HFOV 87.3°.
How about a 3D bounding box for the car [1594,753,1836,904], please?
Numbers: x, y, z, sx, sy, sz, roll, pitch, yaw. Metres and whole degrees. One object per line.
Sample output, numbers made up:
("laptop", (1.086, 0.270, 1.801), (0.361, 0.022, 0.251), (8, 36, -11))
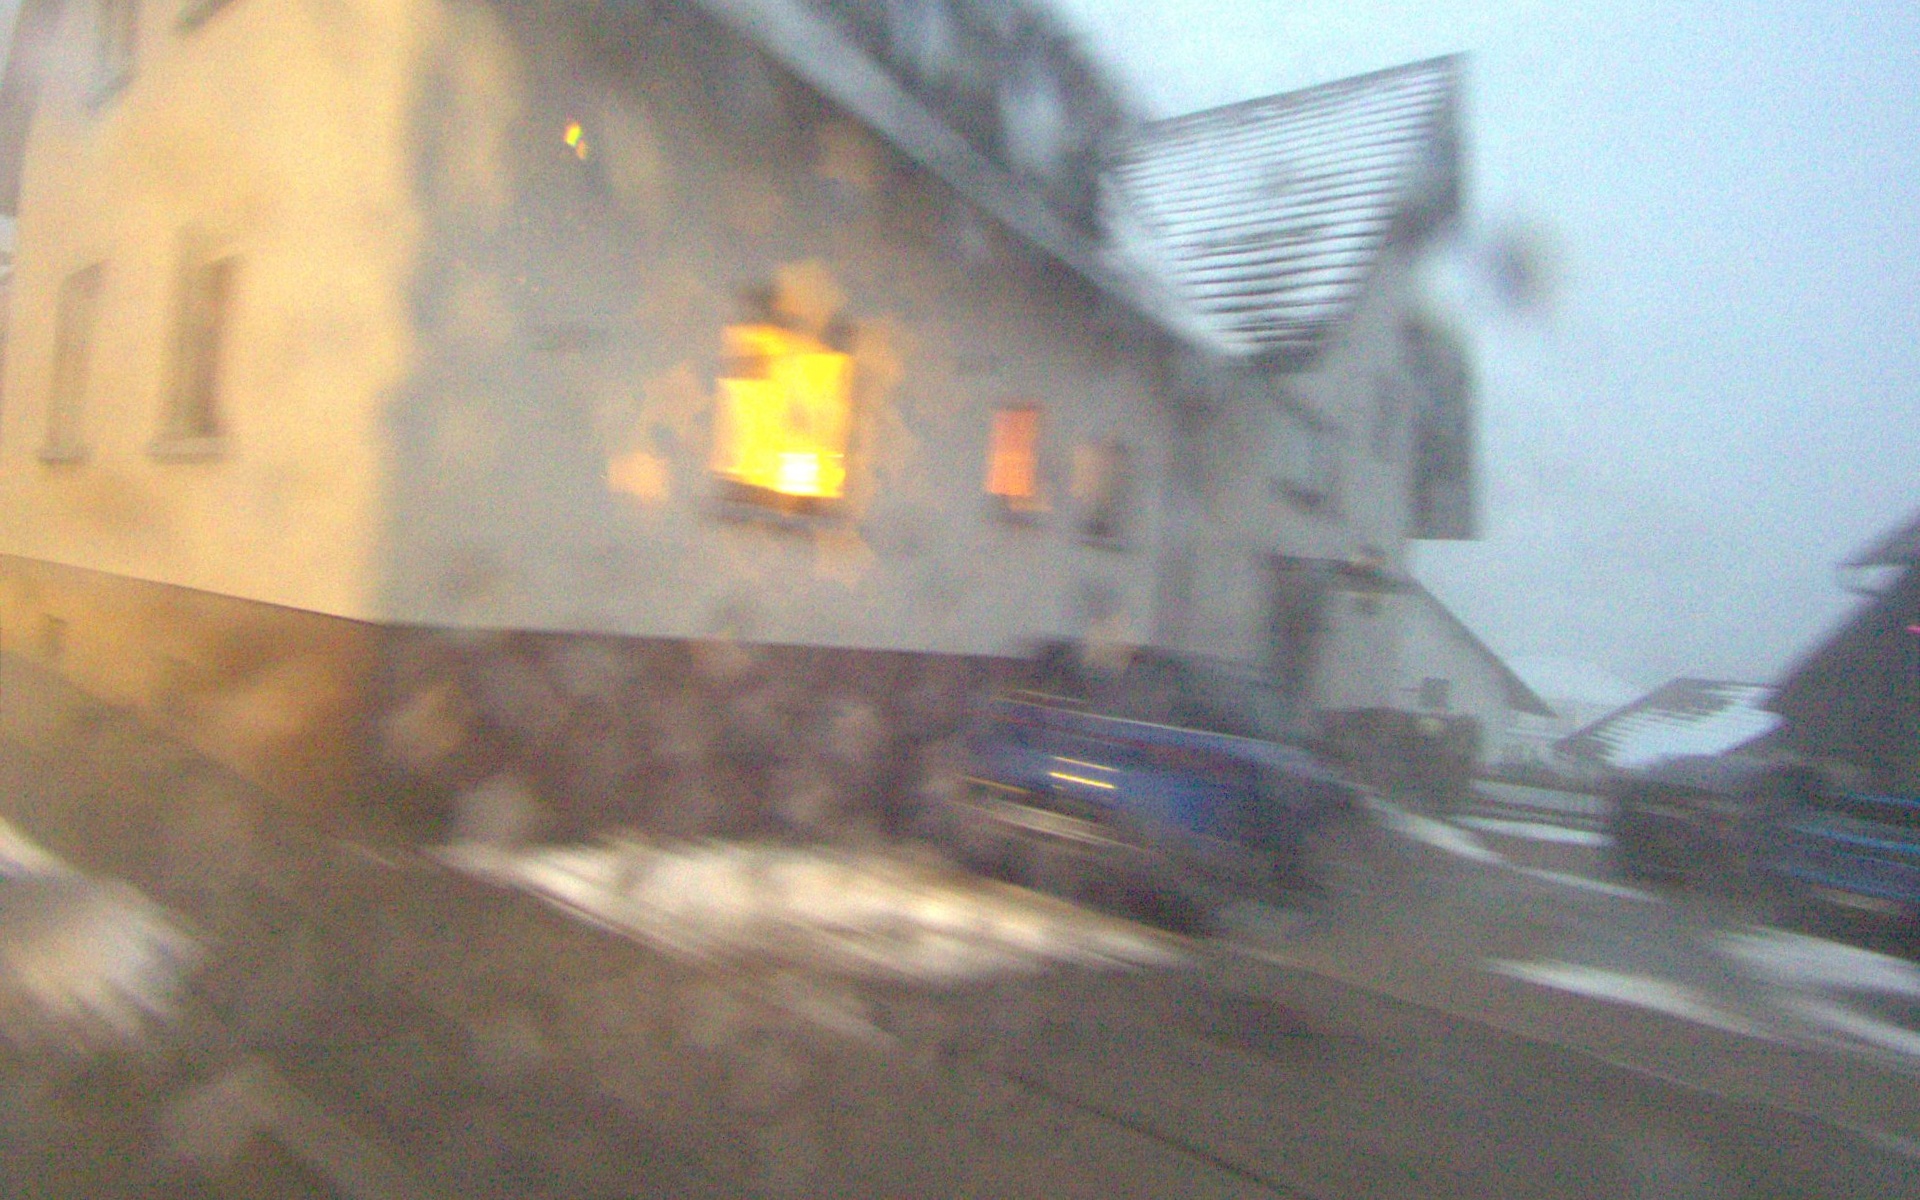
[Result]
("car", (9.719, 2.931, 12.879), (3.368, 1.430, 1.547), (12, -4, -37))

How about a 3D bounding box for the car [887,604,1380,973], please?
("car", (1.506, 1.141, 7.030), (1.880, 1.613, 3.996), (6, -3, 32))

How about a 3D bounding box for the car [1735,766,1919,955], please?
("car", (9.468, 2.606, 9.708), (3.351, 1.374, 1.672), (11, -4, -23))

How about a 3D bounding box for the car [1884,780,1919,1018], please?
("car", (7.842, 2.143, 6.128), (3.953, 1.388, 1.749), (11, -4, -23))
